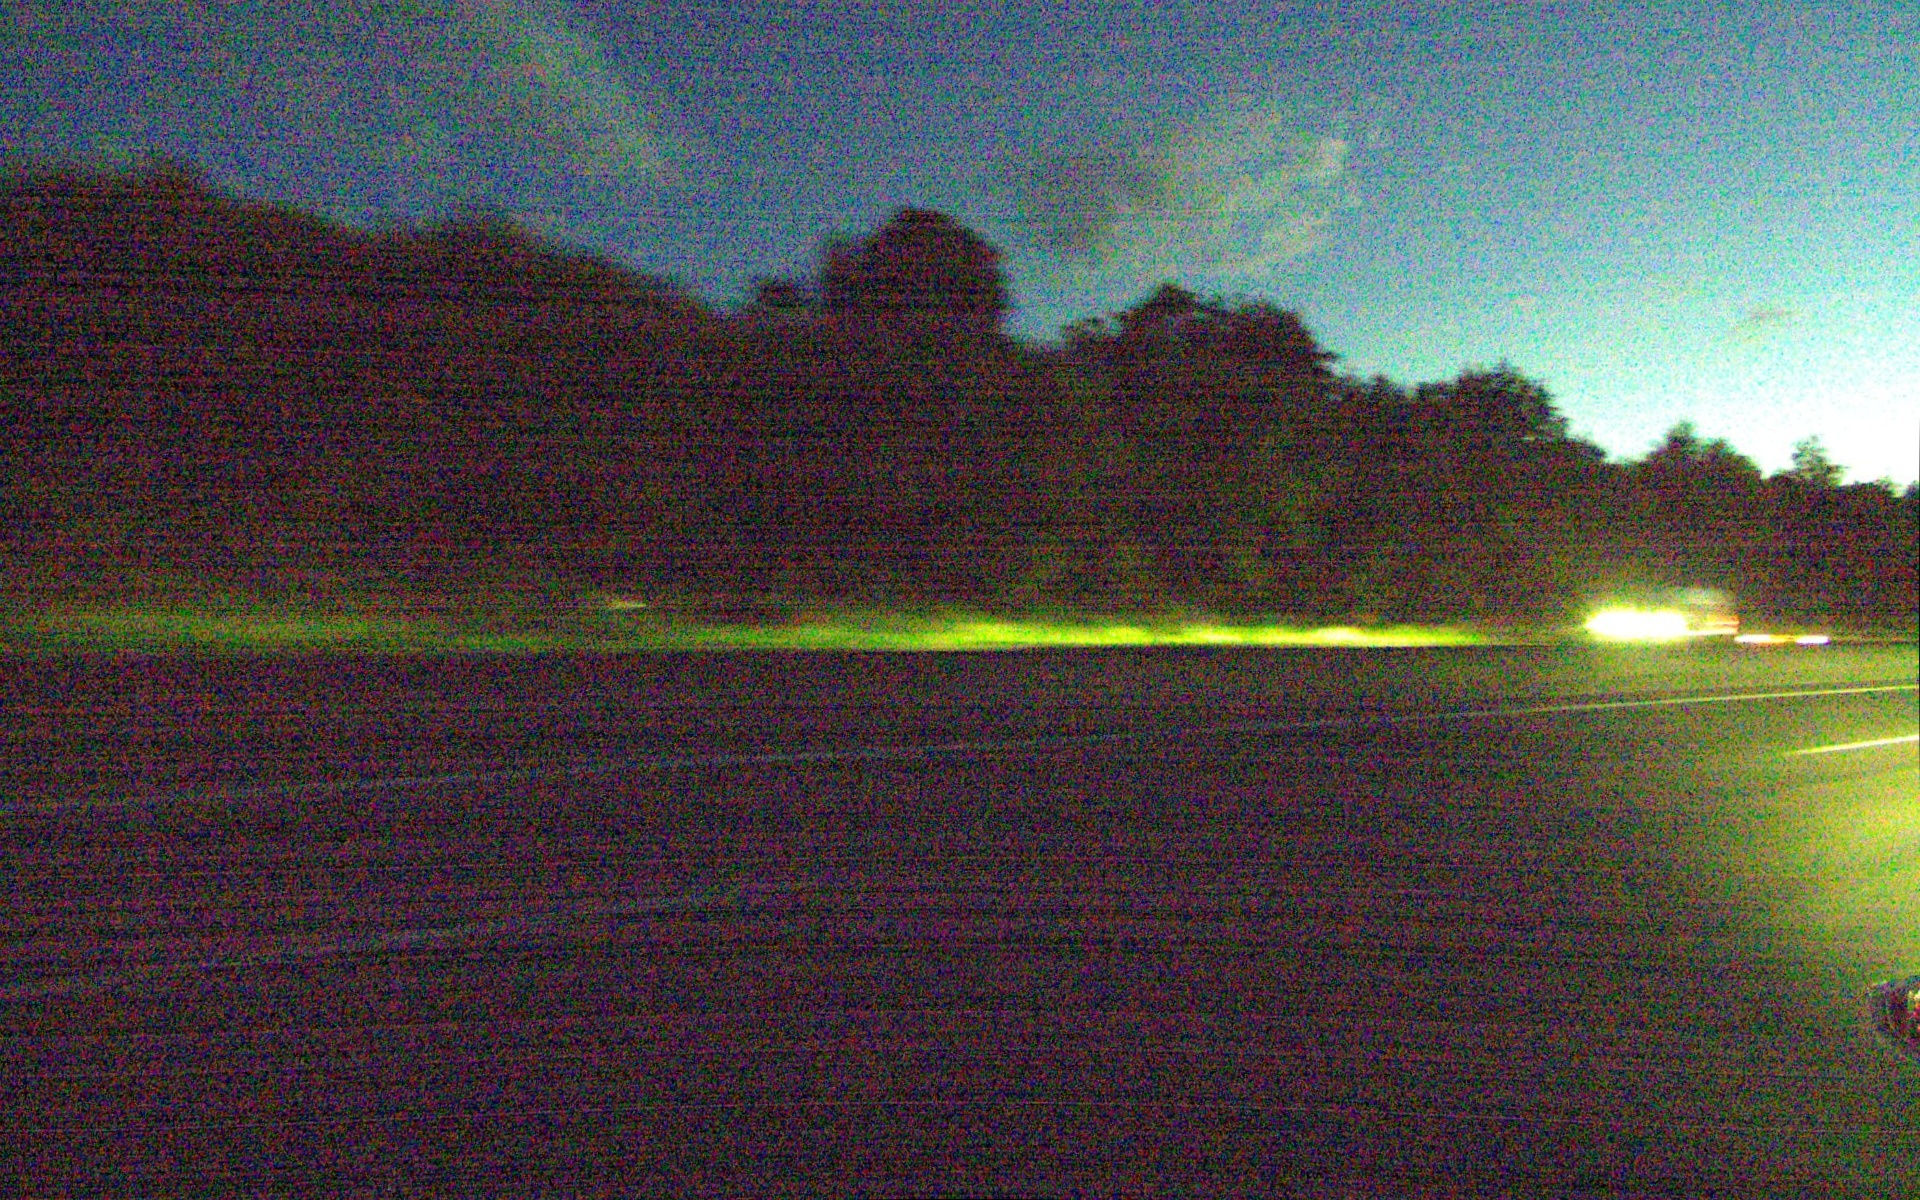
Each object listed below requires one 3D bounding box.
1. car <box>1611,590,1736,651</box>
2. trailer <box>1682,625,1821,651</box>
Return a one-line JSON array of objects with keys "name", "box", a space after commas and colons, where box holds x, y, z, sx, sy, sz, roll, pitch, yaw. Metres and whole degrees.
[{"name": "car", "box": [31.524, 0.939, 44.313, 6.167, 2.520, 2.073, 2, -1, -29]}, {"name": "trailer", "box": [37.691, 1.827, 47.739, 7.981, 1.119, 2.403, 2, -1, -30]}]
